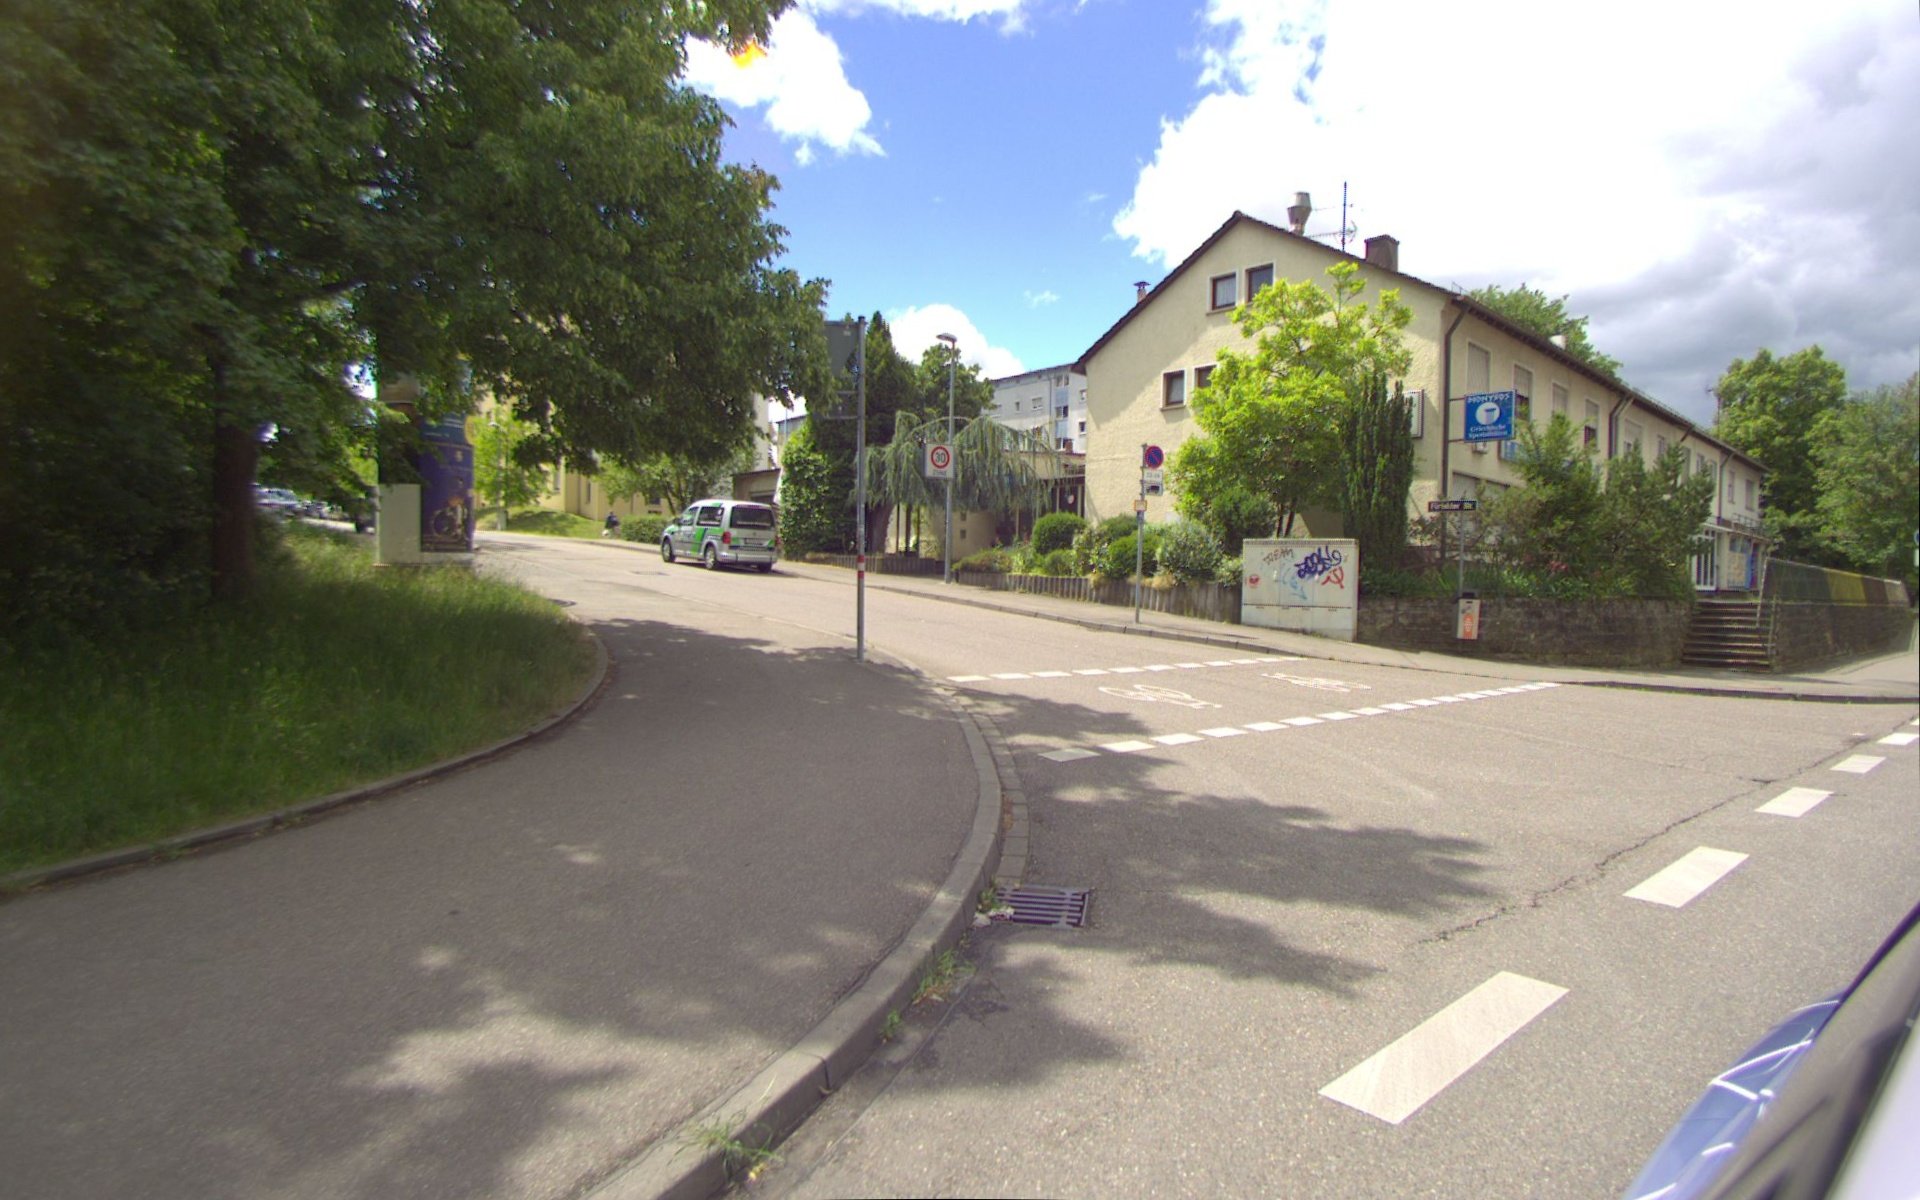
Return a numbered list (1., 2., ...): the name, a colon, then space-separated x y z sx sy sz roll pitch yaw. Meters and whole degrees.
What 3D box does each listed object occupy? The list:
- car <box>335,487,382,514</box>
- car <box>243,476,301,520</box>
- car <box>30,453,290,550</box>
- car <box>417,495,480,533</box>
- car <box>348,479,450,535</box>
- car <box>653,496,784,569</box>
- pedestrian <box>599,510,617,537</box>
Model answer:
1. car: -40.421 -6.689 68.025 1.966 1.604 3.995 0 4 -42
2. car: -34.801 -5.176 51.180 1.965 2.037 3.997 0 4 -41
3. car: -15.786 -1.887 20.108 3.914 1.604 1.640 0 4 -42
4. car: -26.188 -4.425 51.779 1.918 1.737 3.996 0 5 -42
5. car: -18.304 -3.011 32.944 1.966 1.604 4.322 0 4 -42
6. car: -6.520 -1.836 27.079 1.661 1.737 3.996 0 5 -42
7. pedestrian: -16.919 -3.681 48.642 0.594 1.242 0.533 0 4 -41
